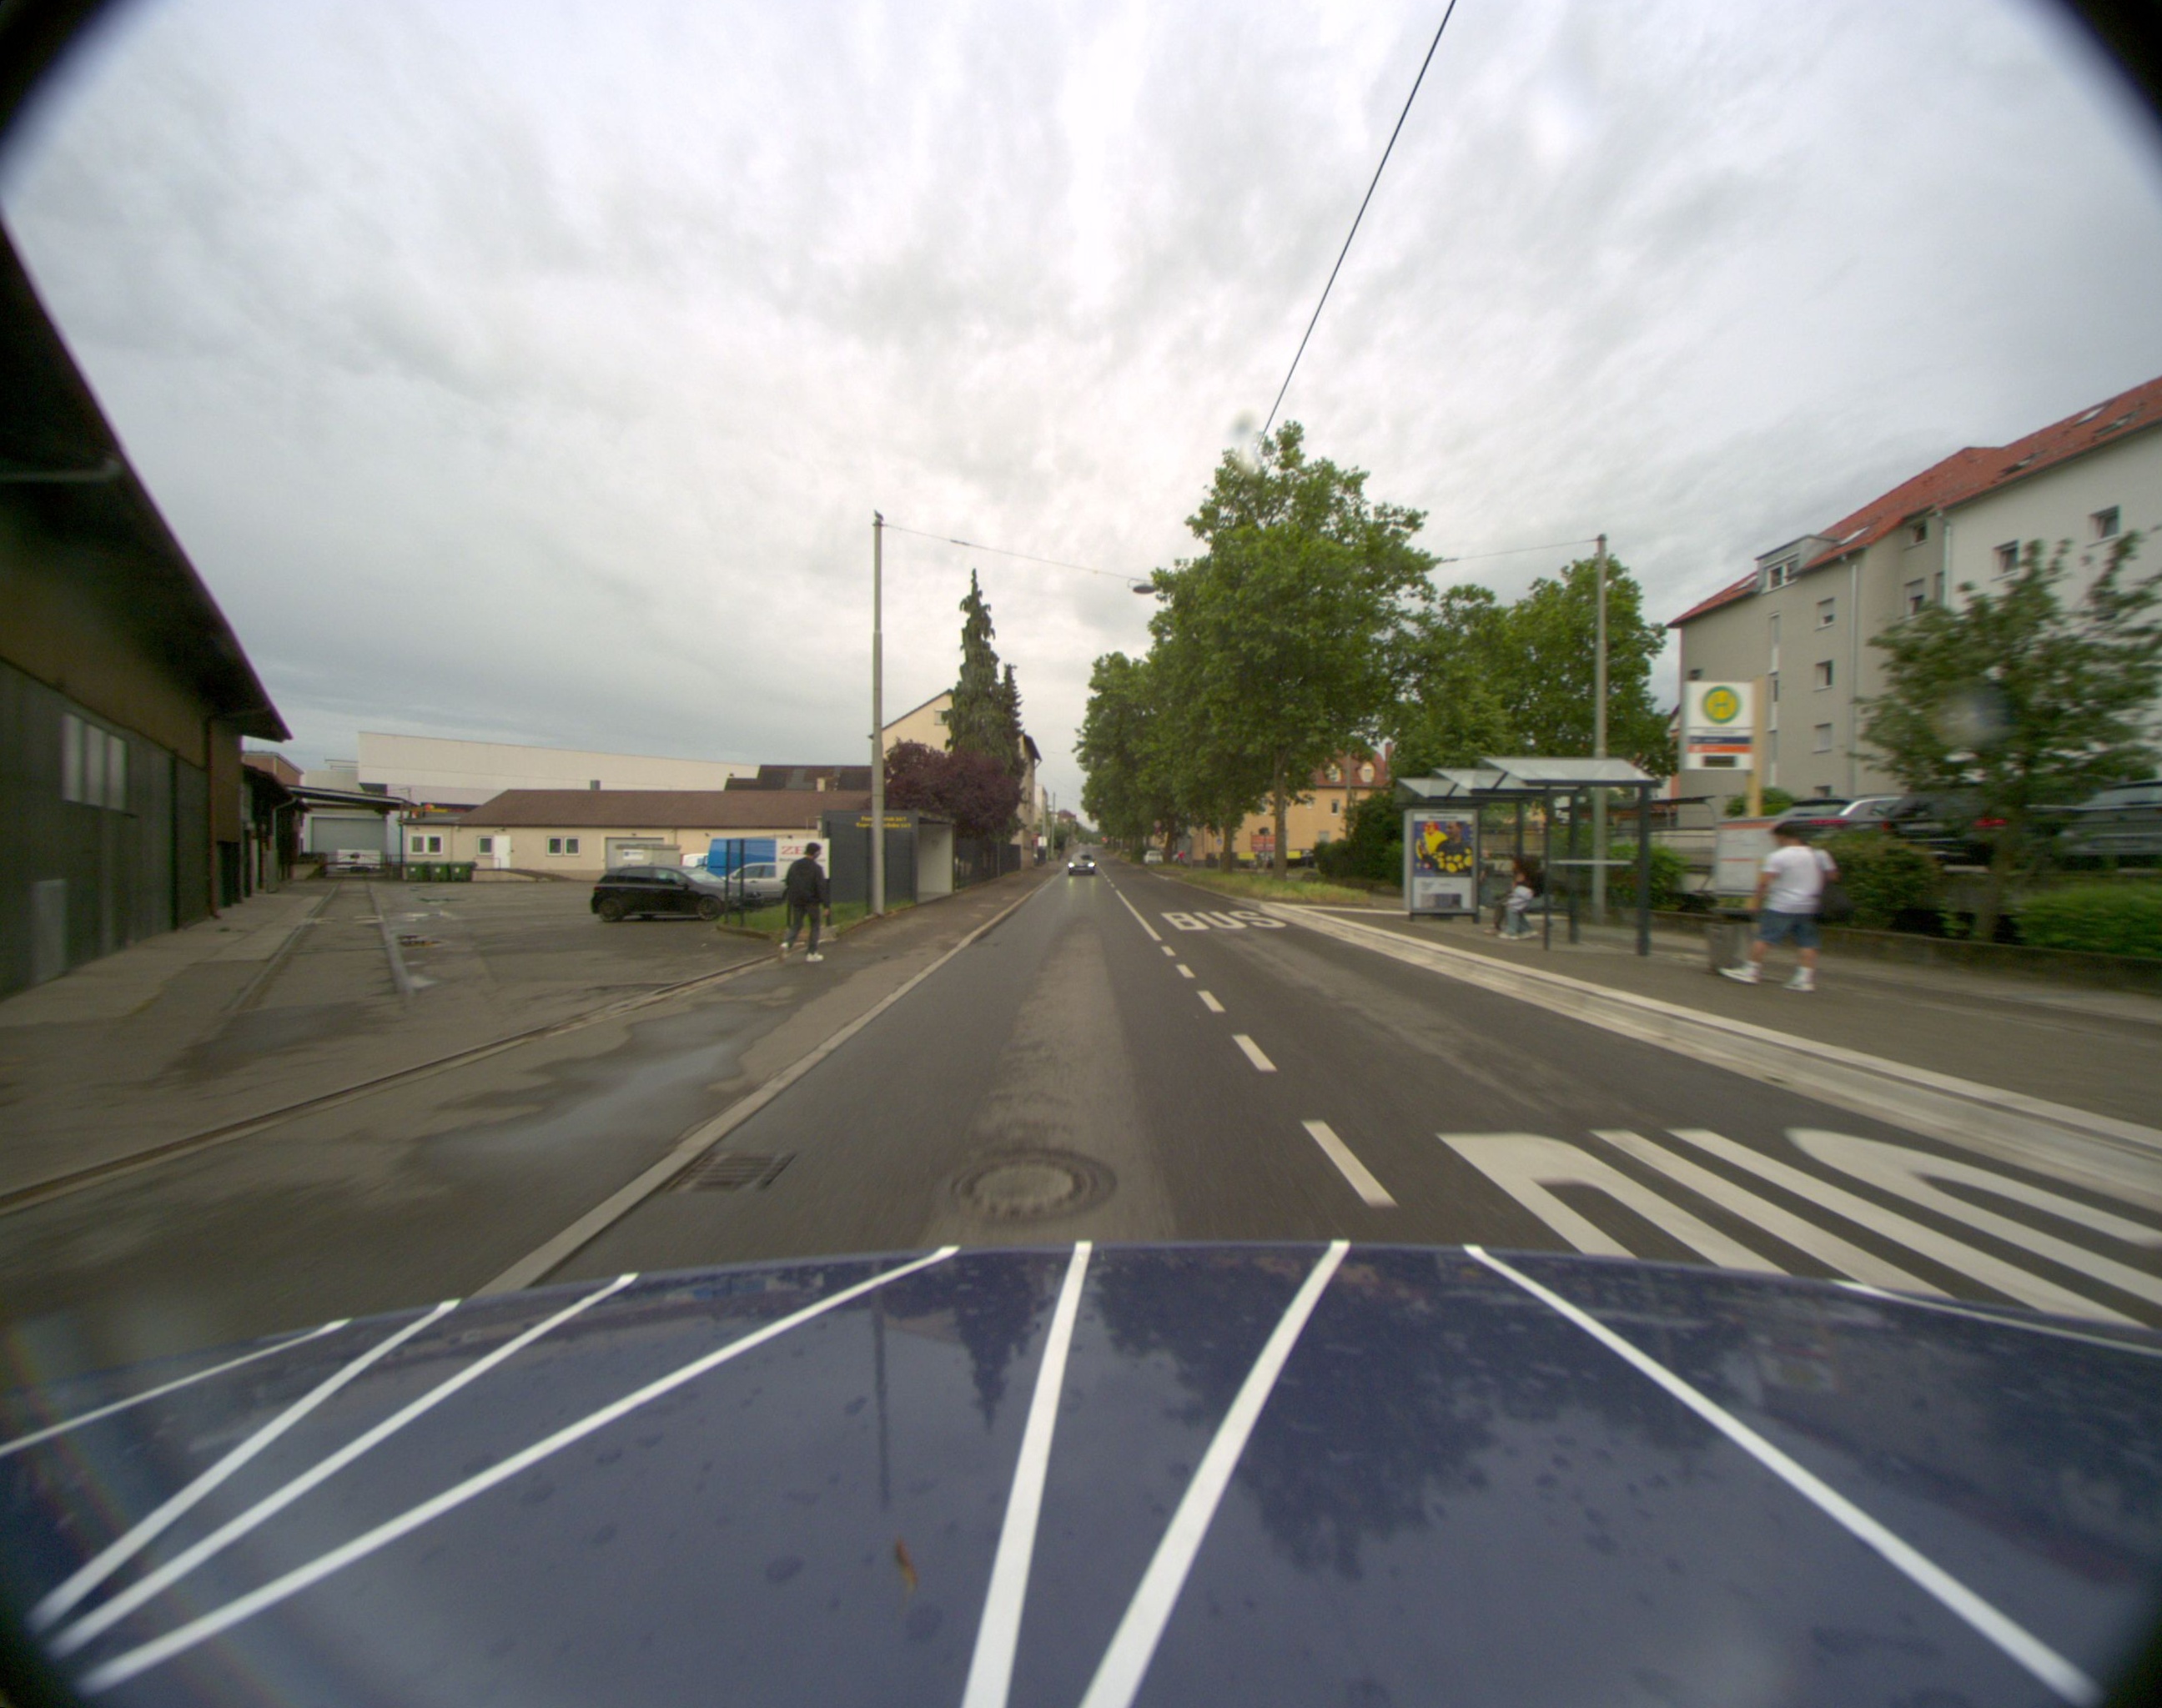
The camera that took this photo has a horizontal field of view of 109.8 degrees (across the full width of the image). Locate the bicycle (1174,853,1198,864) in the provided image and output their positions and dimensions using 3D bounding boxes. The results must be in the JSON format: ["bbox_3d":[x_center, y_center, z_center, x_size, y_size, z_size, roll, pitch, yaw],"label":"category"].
[{"bbox_3d":[10.110,0.453,73.292,2.259,0.990,0.557,0,3,41],"label":"bicycle"}]

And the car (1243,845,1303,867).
[{"bbox_3d":[15.349,0.162,60.888,4.218,1.530,1.981,-2,2,-1],"label":"car"}]

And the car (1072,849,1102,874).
[{"bbox_3d":[0.396,0.549,52.313,1.949,1.644,3.860,-1,-1,0],"label":"car"}]

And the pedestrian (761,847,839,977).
[{"bbox_3d":[-3.893,0.770,10.595,0.744,1.695,0.901,-2,2,-5],"label":"pedestrian"}]

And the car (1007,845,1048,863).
[{"bbox_3d":[-5.653,-0.014,80.314,4.077,1.727,1.869,-2,2,0],"label":"car"}]

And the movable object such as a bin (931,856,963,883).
[{"bbox_3d":[-7.266,0.819,41.425,1.374,1.312,2.858,-2,0,-4],"label":"movable object such as a bin"}]

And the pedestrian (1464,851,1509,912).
[{"bbox_3d":[11.174,0.732,20.934,0.757,1.602,0.834,-2,2,-4],"label":"pedestrian"}]

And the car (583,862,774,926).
[{"bbox_3d":[-10.423,1.008,19.896,3.996,1.415,1.784,-2,2,1],"label":"car"}]

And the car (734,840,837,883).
[{"bbox_3d":[-16.224,0.390,41.912,4.833,2.258,1.999,0,2,0],"label":"car"}]

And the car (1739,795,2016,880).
[{"bbox_3d":[15.789,-0.343,15.212,3.663,1.490,1.896,-2,2,-3],"label":"car"}]

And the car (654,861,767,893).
[{"bbox_3d":[-17.358,1.060,35.758,4.369,1.415,1.799,-1,1,-4],"label":"car"}]

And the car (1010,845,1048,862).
[{"bbox_3d":[-5.637,-0.099,82.989,3.958,1.714,1.791,-2,2,0],"label":"car"}]

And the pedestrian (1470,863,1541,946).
[{"bbox_3d":[7.117,0.827,12.772,0.777,1.310,0.641,2,3,4],"label":"pedestrian"}]

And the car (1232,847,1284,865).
[{"bbox_3d":[15.347,0.160,66.166,4.108,1.489,1.958,-2,1,3],"label":"car"}]

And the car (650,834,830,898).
[{"bbox_3d":[-12.166,0.407,27.390,5.582,2.198,2.000,0,0,-1],"label":"car"}]

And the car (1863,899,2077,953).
[{"bbox_3d":[27.026,2.167,23.232,3.996,1.388,2.065,-1,1,3],"label":"car"}]

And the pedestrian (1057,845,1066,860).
[{"bbox_3d":[-2.412,-0.208,93.394,1.045,1.887,0.900,0,2,1],"label":"pedestrian"}]

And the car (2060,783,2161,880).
[{"bbox_3d":[15.615,-0.353,10.166,3.138,1.263,1.436,-2,2,0],"label":"car"}]

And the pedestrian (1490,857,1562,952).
[{"bbox_3d":[7.026,0.784,12.025,0.689,1.410,0.641,3,3,4],"label":"pedestrian"}]

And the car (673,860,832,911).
[{"bbox_3d":[-10.662,1.013,24.901,4.390,1.522,1.793,0,2,-1],"label":"car"}]

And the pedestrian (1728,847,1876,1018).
[{"bbox_3d":[7.180,0.751,7.604,0.743,1.589,0.606,3,3,4],"label":"pedestrian"}]

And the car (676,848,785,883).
[{"bbox_3d":[-17.796,0.586,38.787,4.610,1.684,1.998,0,2,-4],"label":"car"}]

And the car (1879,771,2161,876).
[{"bbox_3d":[15.340,-0.496,12.380,3.138,1.534,1.436,-2,2,0],"label":"car"}]

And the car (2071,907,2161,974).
[{"bbox_3d":[26.993,2.047,18.188,3.996,1.388,1.887,-1,1,3],"label":"car"}]

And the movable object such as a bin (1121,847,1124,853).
[{"bbox_3d":[7.333,-0.729,133.422,0.513,0.922,0.581,1,2,0],"label":"movable object such as a bin"}]

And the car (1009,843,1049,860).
[{"bbox_3d":[-5.819,-0.336,85.313,4.313,1.758,1.999,-1,2,0],"label":"car"}]

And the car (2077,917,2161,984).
[{"bbox_3d":[26.952,2.282,17.947,3.996,1.388,2.065,-1,1,3],"label":"car"}]

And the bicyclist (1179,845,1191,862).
[{"bbox_3d":[10.035,-0.042,73.280,0.814,1.544,0.837,0,3,41],"label":"bicyclist"}]

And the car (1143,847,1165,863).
[{"bbox_3d":[7.370,0.054,76.701,1.790,1.542,4.351,-1,0,0],"label":"car"}]
